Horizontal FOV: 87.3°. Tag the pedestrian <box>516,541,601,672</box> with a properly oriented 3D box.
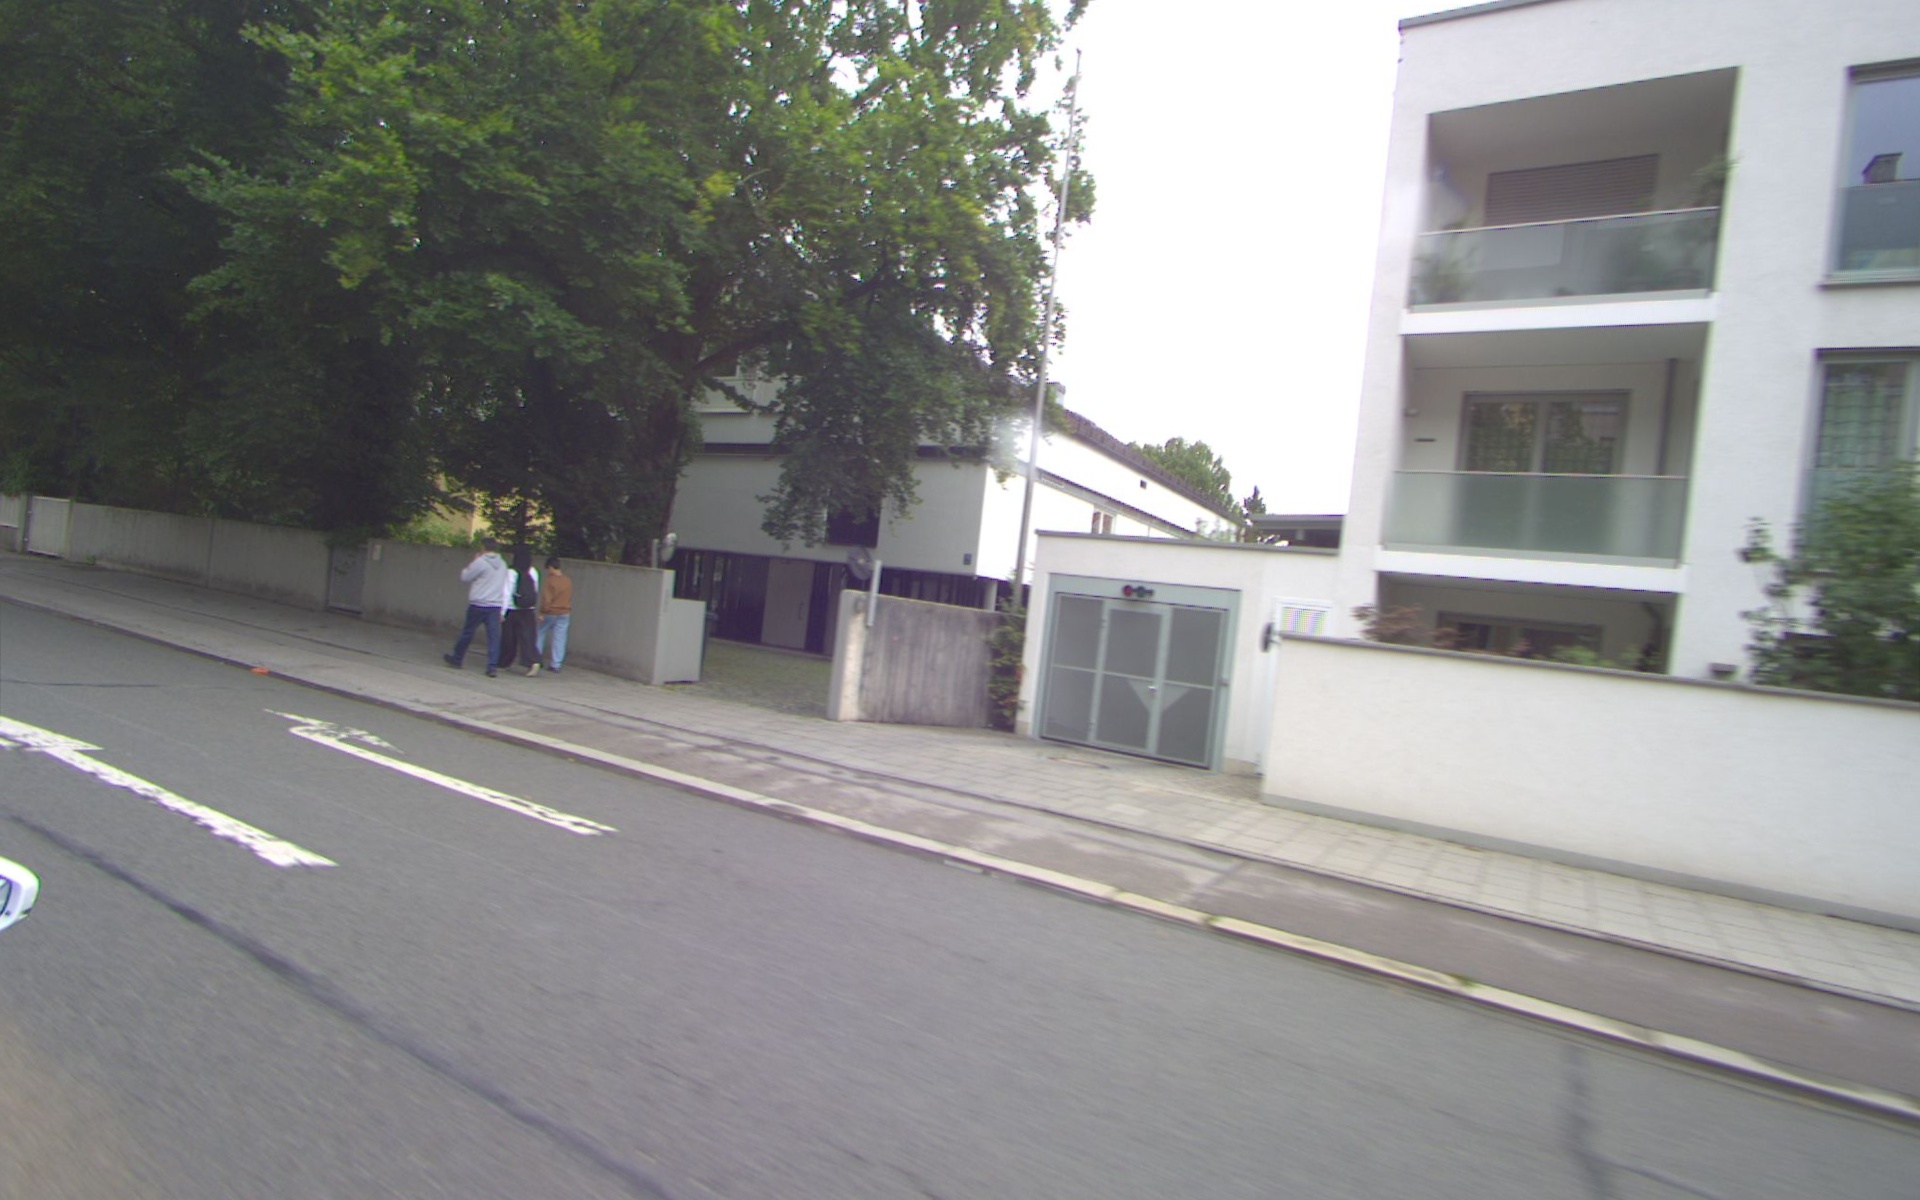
[{"bbox_3d":[-5.609,0.097,14.053,0.753,1.728,0.666,7,3,30],"label":"pedestrian"}]

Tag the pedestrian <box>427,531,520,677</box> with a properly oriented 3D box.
[{"bbox_3d":[-6.174,0.053,12.776,0.716,1.745,0.666,7,3,30],"label":"pedestrian"}]

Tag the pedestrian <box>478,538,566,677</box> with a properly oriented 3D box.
[{"bbox_3d":[-5.752,0.099,13.220,0.716,1.715,0.666,7,3,30],"label":"pedestrian"}]
